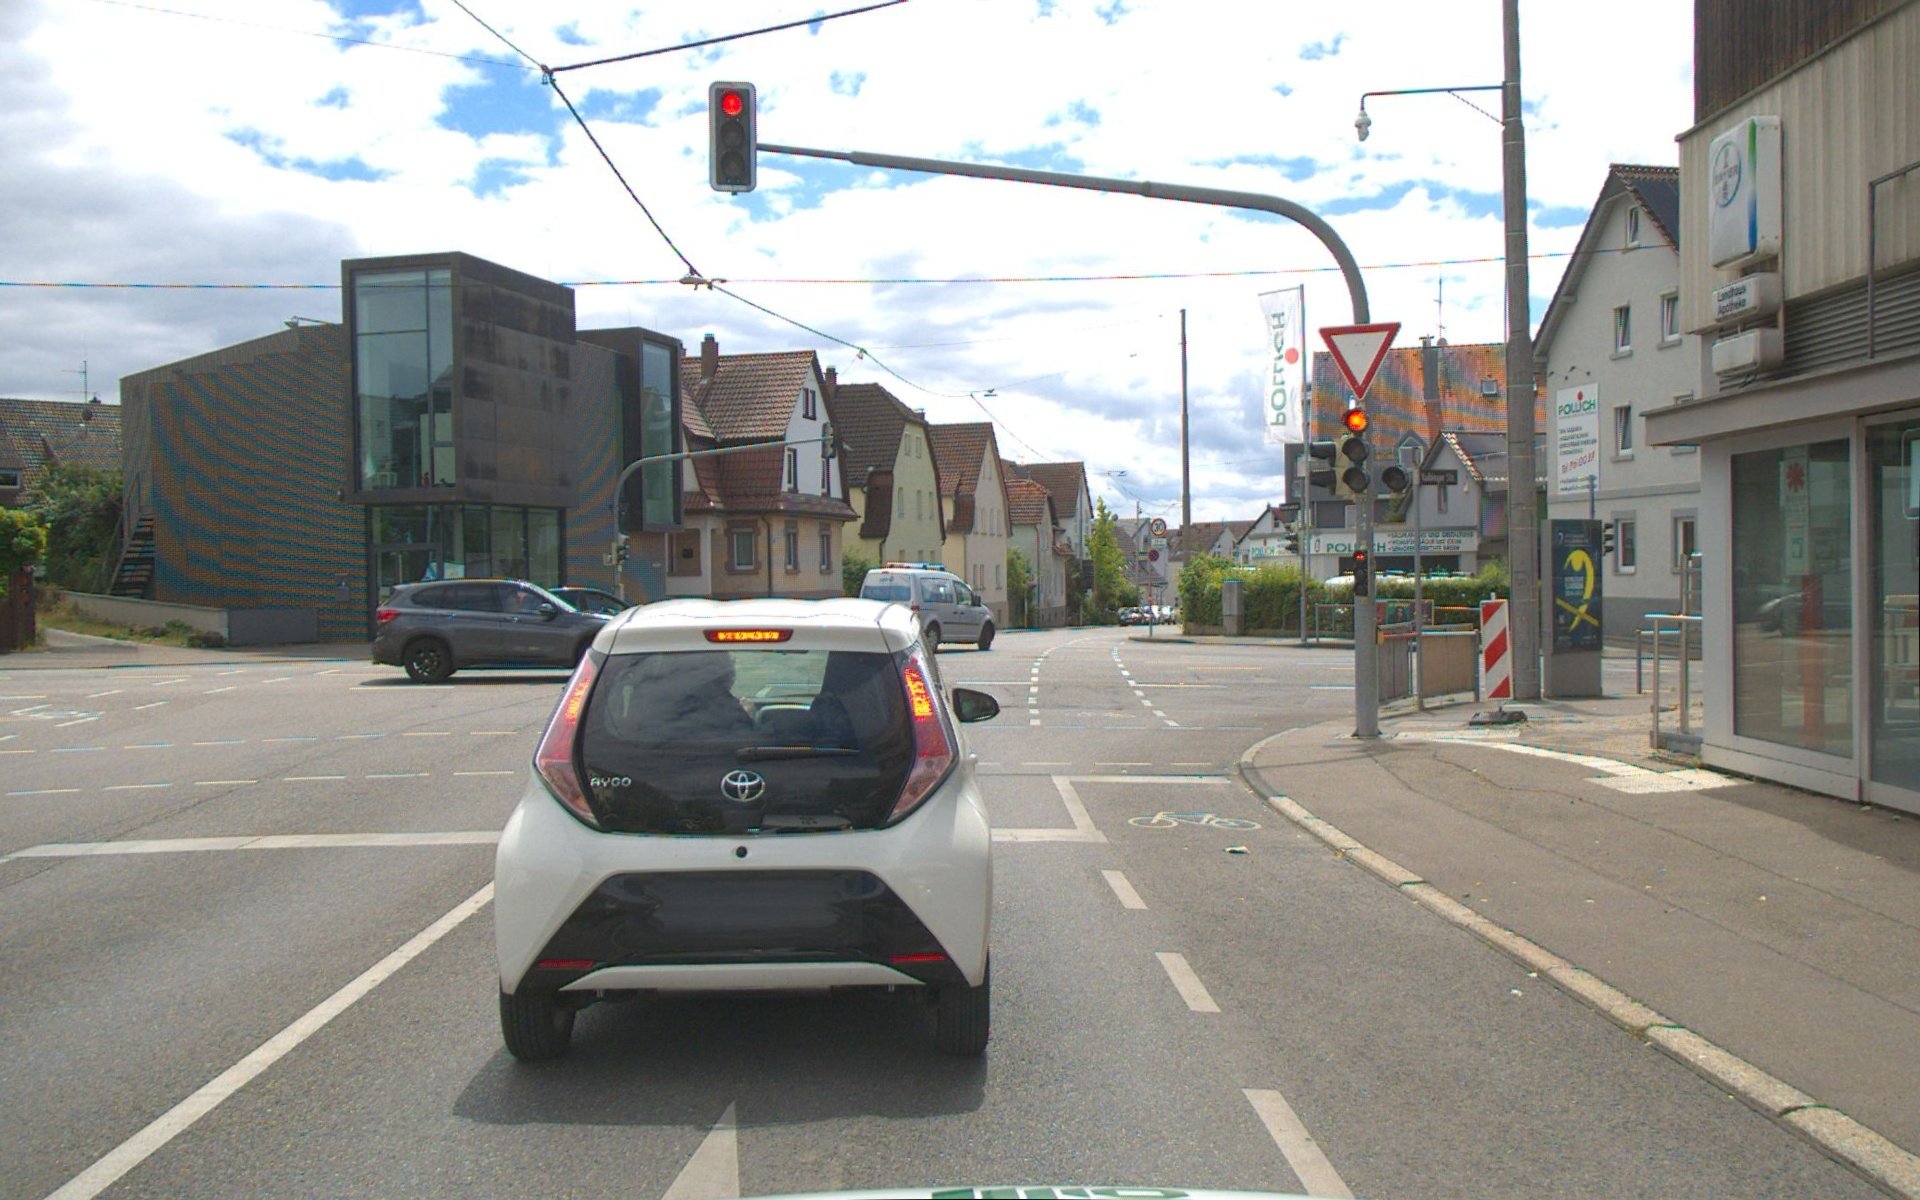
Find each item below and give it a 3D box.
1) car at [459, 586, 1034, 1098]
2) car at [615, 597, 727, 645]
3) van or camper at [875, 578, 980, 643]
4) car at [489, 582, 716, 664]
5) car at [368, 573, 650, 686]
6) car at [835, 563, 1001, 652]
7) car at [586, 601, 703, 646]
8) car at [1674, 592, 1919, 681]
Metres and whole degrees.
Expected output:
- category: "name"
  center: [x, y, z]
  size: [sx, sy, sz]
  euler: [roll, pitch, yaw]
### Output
- category: "car"
  center: [-0.689, 0.696, 6.476]
  size: [1.663, 1.482, 3.297]
  euler: [0, 0, -3]
- category: "car"
  center: [-10.287, 0.722, 58.991]
  size: [3.537, 1.633, 1.693]
  euler: [1, 0, 11]
- category: "van or camper"
  center: [-0.986, 0.322, 53.737]
  size: [2.070, 1.959, 5.289]
  euler: [1, 0, 14]
- category: "car"
  center: [-7.001, 0.442, 32.437]
  size: [3.945, 1.512, 1.980]
  euler: [1, 0, -31]
- category: "car"
  center: [-7.144, 0.440, 26.623]
  size: [4.216, 1.705, 1.994]
  euler: [-1, 0, -12]
- category: "car"
  center: [-0.887, 0.154, 37.437]
  size: [1.956, 1.881, 4.066]
  euler: [1, 0, 29]
- category: "car"
  center: [-10.826, 0.786, 56.860]
  size: [3.537, 1.444, 1.693]
  euler: [1, 0, 11]
- category: "car"
  center: [16.335, 0.670, 31.397]
  size: [4.806, 1.605, 1.996]
  euler: [0, 0, -9]
